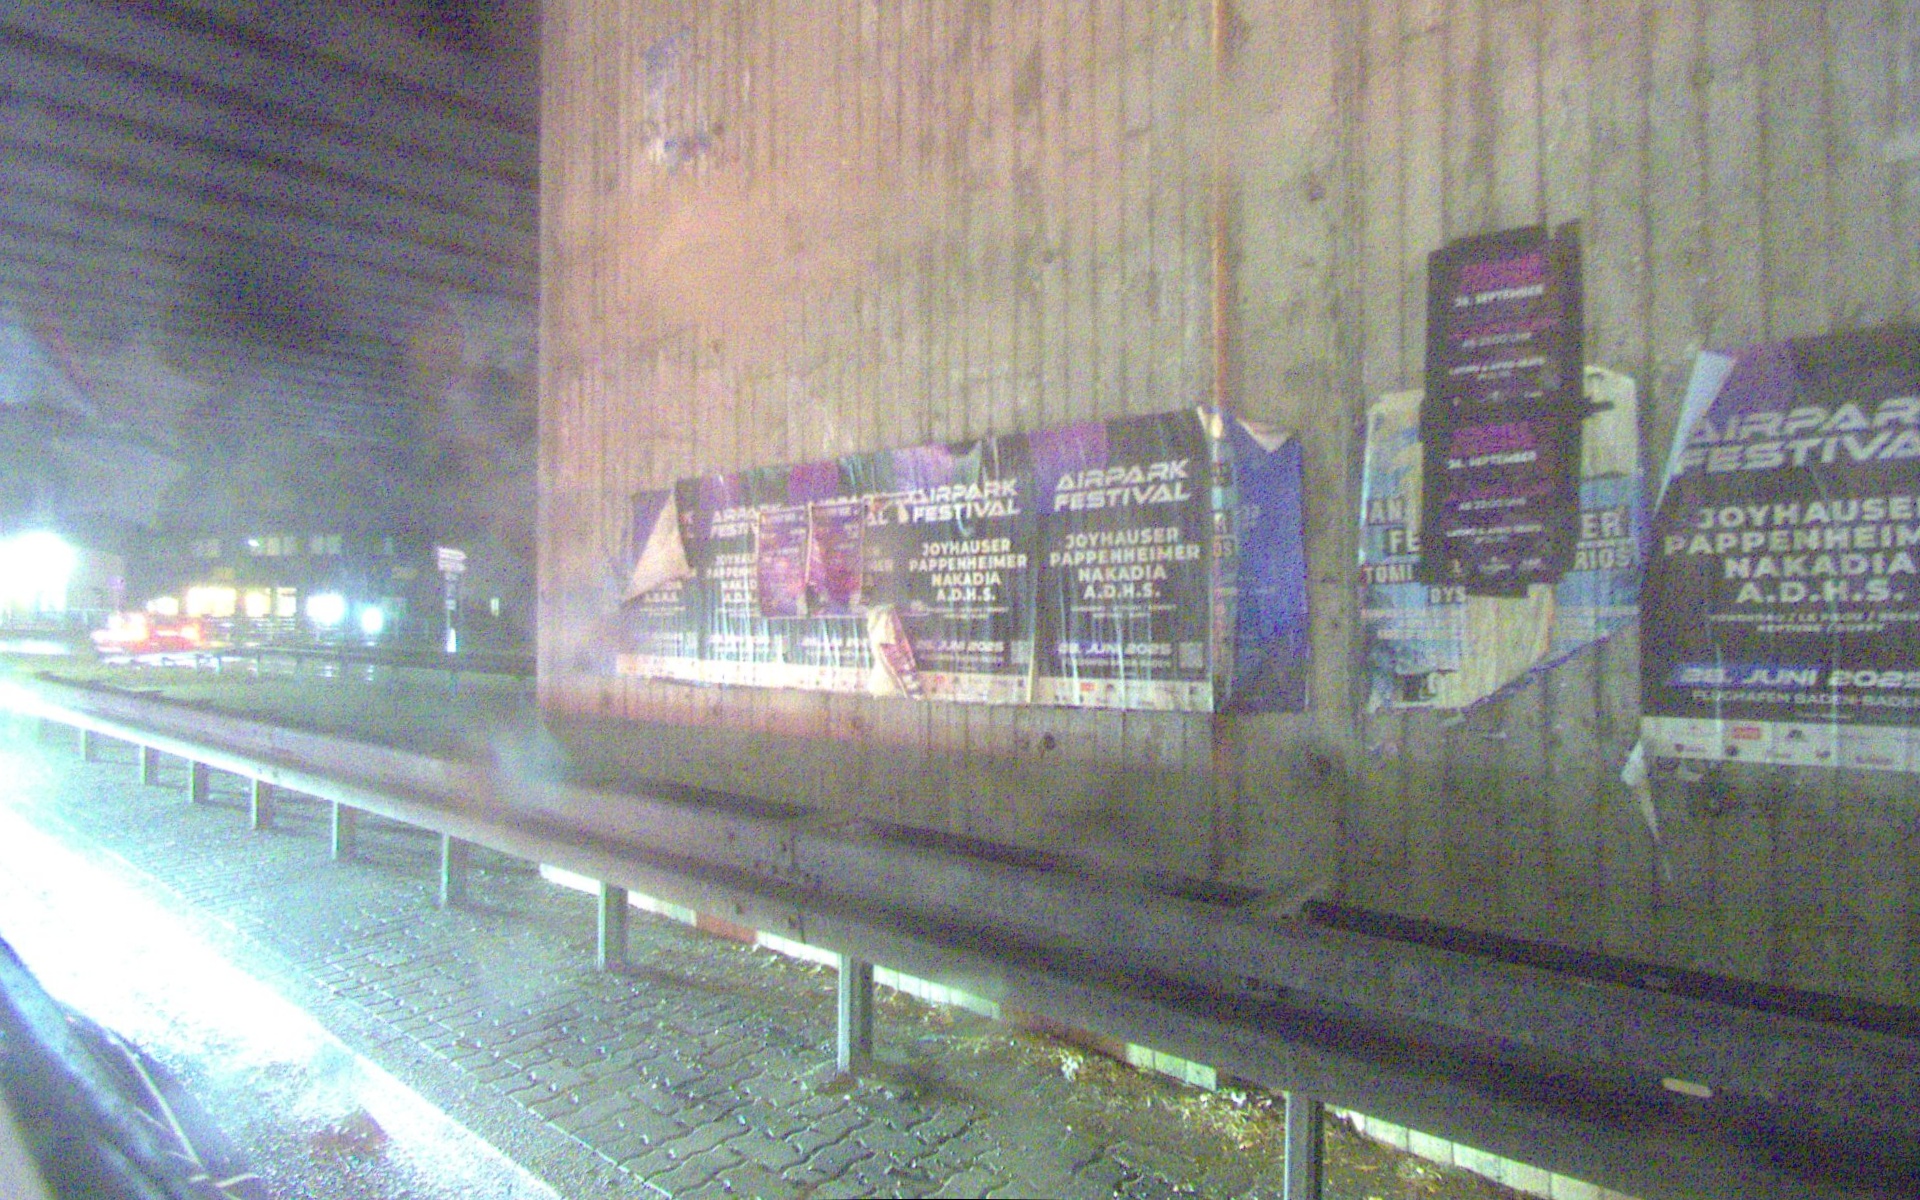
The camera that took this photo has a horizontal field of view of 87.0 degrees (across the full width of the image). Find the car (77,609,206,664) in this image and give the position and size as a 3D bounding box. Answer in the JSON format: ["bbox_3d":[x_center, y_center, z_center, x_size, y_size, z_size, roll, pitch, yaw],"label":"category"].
[{"bbox_3d":[-25.522,1.176,31.529,4.068,1.600,1.891,-2,-4,33],"label":"car"}]
